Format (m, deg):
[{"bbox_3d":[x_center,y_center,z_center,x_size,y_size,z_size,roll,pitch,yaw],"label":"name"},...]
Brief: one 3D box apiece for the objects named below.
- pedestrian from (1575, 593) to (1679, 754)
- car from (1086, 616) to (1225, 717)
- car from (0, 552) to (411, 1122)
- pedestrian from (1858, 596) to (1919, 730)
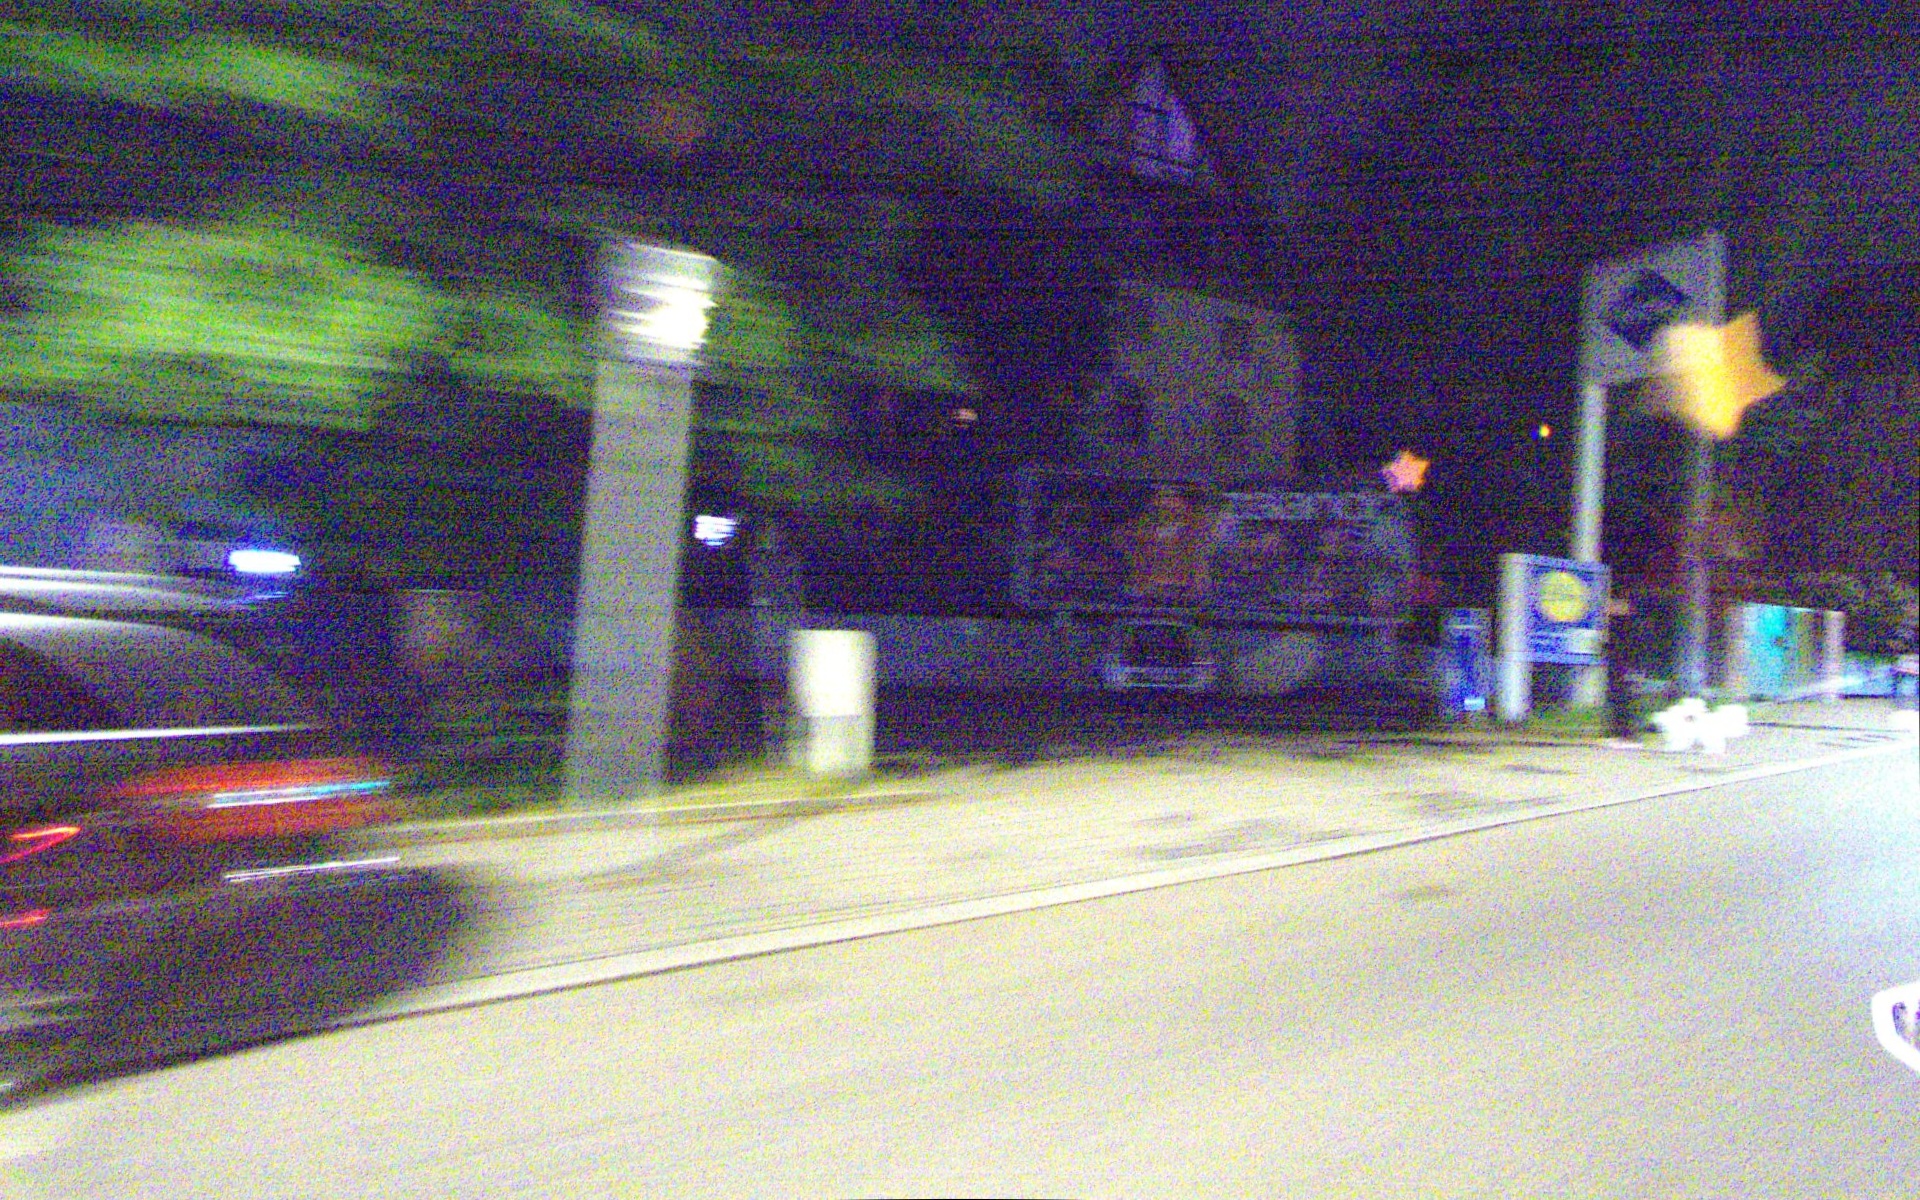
[{"bbox_3d":[7.582,0.803,11.427,0.857,1.749,0.665,1,0,-31],"label":"pedestrian"},{"bbox_3d":[3.299,1.091,17.532,1.960,1.557,3.342,1,-1,4],"label":"car"},{"bbox_3d":[-4.187,0.601,2.906,4.533,1.553,1.851,1,2,-30],"label":"car"},{"bbox_3d":[12.551,0.812,13.235,1.090,1.694,0.739,1,0,-29],"label":"pedestrian"}]
